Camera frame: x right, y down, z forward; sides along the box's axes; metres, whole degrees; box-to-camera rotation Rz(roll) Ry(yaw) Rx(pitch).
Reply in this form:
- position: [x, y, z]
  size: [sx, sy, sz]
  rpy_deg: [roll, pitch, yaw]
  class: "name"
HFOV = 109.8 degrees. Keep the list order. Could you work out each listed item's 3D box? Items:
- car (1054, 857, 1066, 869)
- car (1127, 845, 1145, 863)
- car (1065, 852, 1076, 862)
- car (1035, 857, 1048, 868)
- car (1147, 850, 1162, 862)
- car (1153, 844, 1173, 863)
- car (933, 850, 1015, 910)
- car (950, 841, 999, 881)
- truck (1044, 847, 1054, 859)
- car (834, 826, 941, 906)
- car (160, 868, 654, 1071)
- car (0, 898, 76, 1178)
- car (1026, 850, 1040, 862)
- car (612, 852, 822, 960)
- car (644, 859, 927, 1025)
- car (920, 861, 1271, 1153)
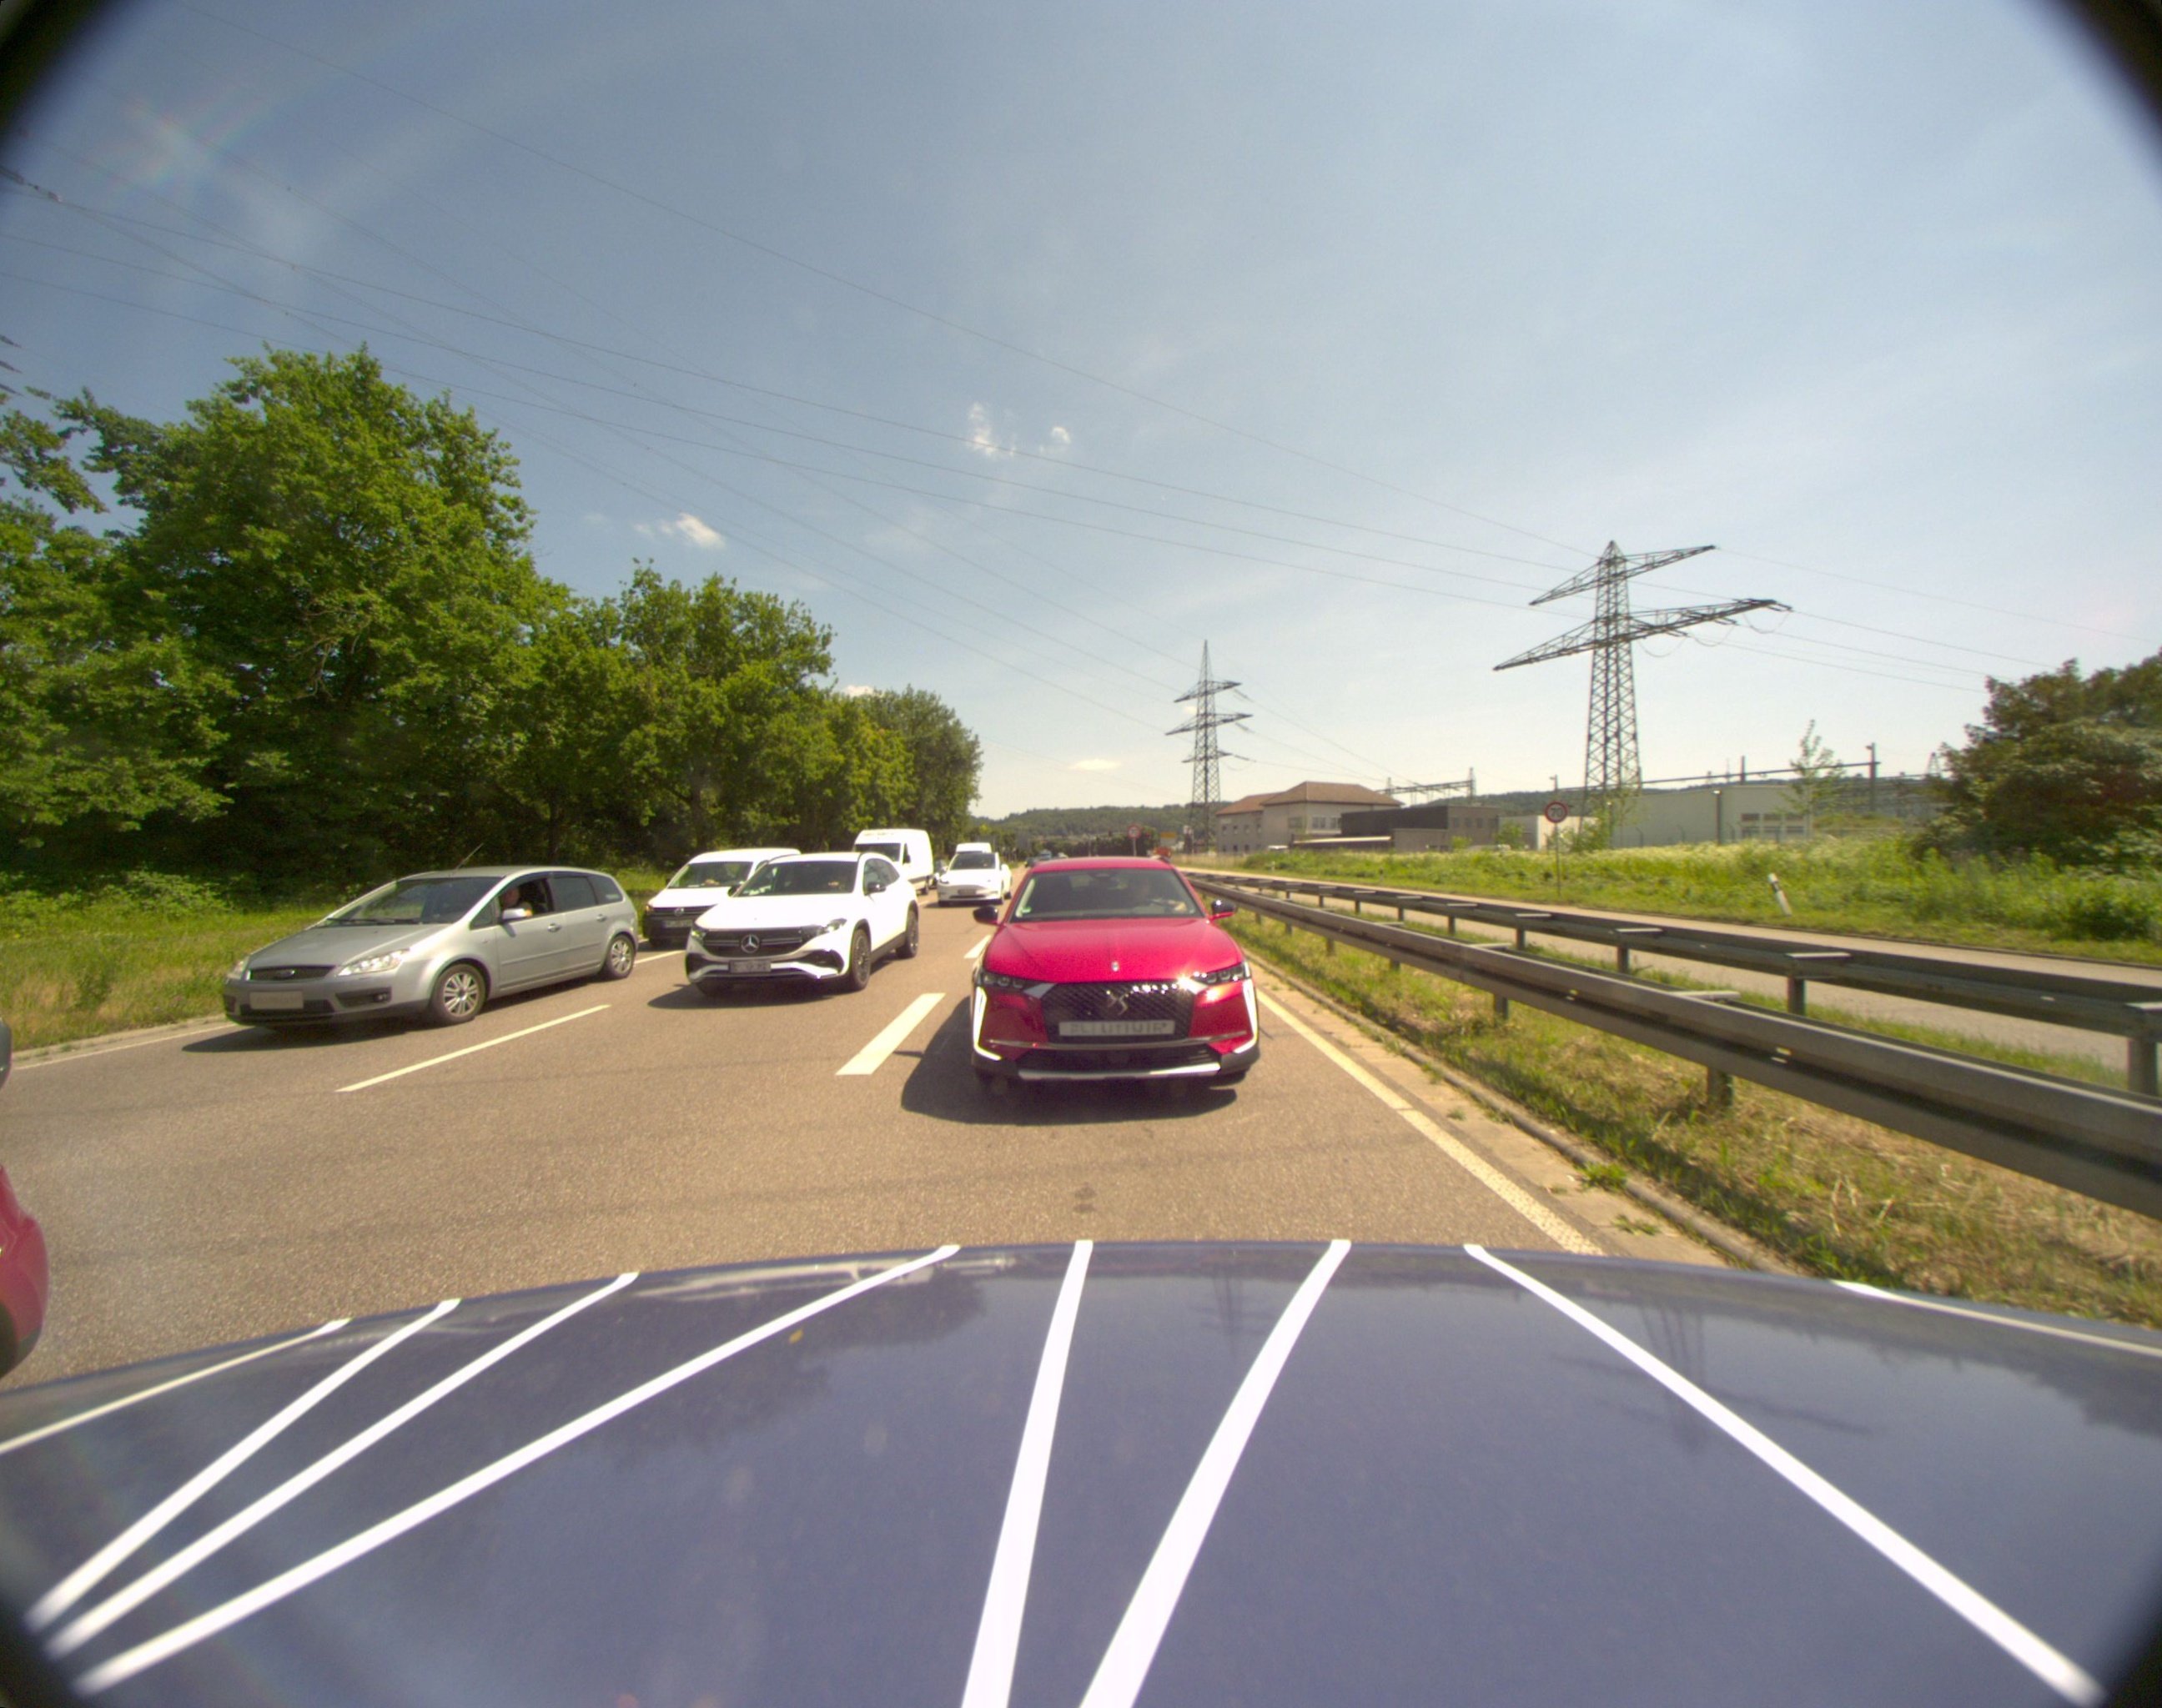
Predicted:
- position: [-3.331, 1.437, 120.927]
  size: [1.878, 1.674, 3.998]
  rpy_deg: [-2, 1, -2]
  class: "car"
- position: [9.403, -0.088, 130.352]
  size: [2.607, 3.043, 5.638]
  rpy_deg: [0, 0, -1]
  class: "car"
- position: [-1.924, 0.515, 141.593]
  size: [1.998, 1.752, 4.000]
  rpy_deg: [0, 0, 1]
  class: "car"
- position: [-7.051, 1.504, 134.902]
  size: [1.998, 1.808, 3.999]
  rpy_deg: [-2, 1, 0]
  class: "car"
- position: [13.166, 0.323, 135.958]
  size: [1.999, 1.904, 3.998]
  rpy_deg: [-2, 1, -4]
  class: "car"
- position: [13.638, -0.102, 126.275]
  size: [2.607, 3.043, 5.638]
  rpy_deg: [0, 0, -1]
  class: "car"
- position: [-3.277, 0.739, 24.051]
  size: [2.022, 1.672, 3.999]
  rpy_deg: [-2, 0, -1]
  class: "car"
- position: [-7.114, 0.420, 51.237]
  size: [2.308, 2.408, 5.813]
  rpy_deg: [-2, 0, 1]
  class: "car"
- position: [-6.836, -0.161, 162.884]
  size: [2.170, 2.428, 4.909]
  rpy_deg: [-2, 1, -2]
  class: "truck"
- position: [-7.133, 0.385, 29.027]
  size: [2.232, 2.592, 7.018]
  rpy_deg: [-2, 0, 0]
  class: "car"
- position: [-6.992, 1.035, 8.669]
  size: [1.747, 1.585, 4.272]
  rpy_deg: [-2, 0, 0]
  class: "car"
- position: [-7.124, 1.090, 2.604]
  size: [1.769, 1.586, 4.165]
  rpy_deg: [-1, 0, 0]
  class: "car"
- position: [-7.235, 0.317, 115.388]
  size: [1.878, 1.674, 3.998]
  rpy_deg: [-2, 1, -2]
  class: "car"
- position: [-7.089, 0.884, 15.543]
  size: [1.809, 1.790, 5.037]
  rpy_deg: [-2, 0, 0]
  class: "car"
- position: [-3.405, 0.897, 9.790]
  size: [1.850, 1.559, 4.363]
  rpy_deg: [-2, 0, 0]
  class: "car"
- position: [0.099, 0.849, 6.314]
  size: [1.846, 1.453, 4.414]
  rpy_deg: [-2, 0, 0]
  class: "car"
